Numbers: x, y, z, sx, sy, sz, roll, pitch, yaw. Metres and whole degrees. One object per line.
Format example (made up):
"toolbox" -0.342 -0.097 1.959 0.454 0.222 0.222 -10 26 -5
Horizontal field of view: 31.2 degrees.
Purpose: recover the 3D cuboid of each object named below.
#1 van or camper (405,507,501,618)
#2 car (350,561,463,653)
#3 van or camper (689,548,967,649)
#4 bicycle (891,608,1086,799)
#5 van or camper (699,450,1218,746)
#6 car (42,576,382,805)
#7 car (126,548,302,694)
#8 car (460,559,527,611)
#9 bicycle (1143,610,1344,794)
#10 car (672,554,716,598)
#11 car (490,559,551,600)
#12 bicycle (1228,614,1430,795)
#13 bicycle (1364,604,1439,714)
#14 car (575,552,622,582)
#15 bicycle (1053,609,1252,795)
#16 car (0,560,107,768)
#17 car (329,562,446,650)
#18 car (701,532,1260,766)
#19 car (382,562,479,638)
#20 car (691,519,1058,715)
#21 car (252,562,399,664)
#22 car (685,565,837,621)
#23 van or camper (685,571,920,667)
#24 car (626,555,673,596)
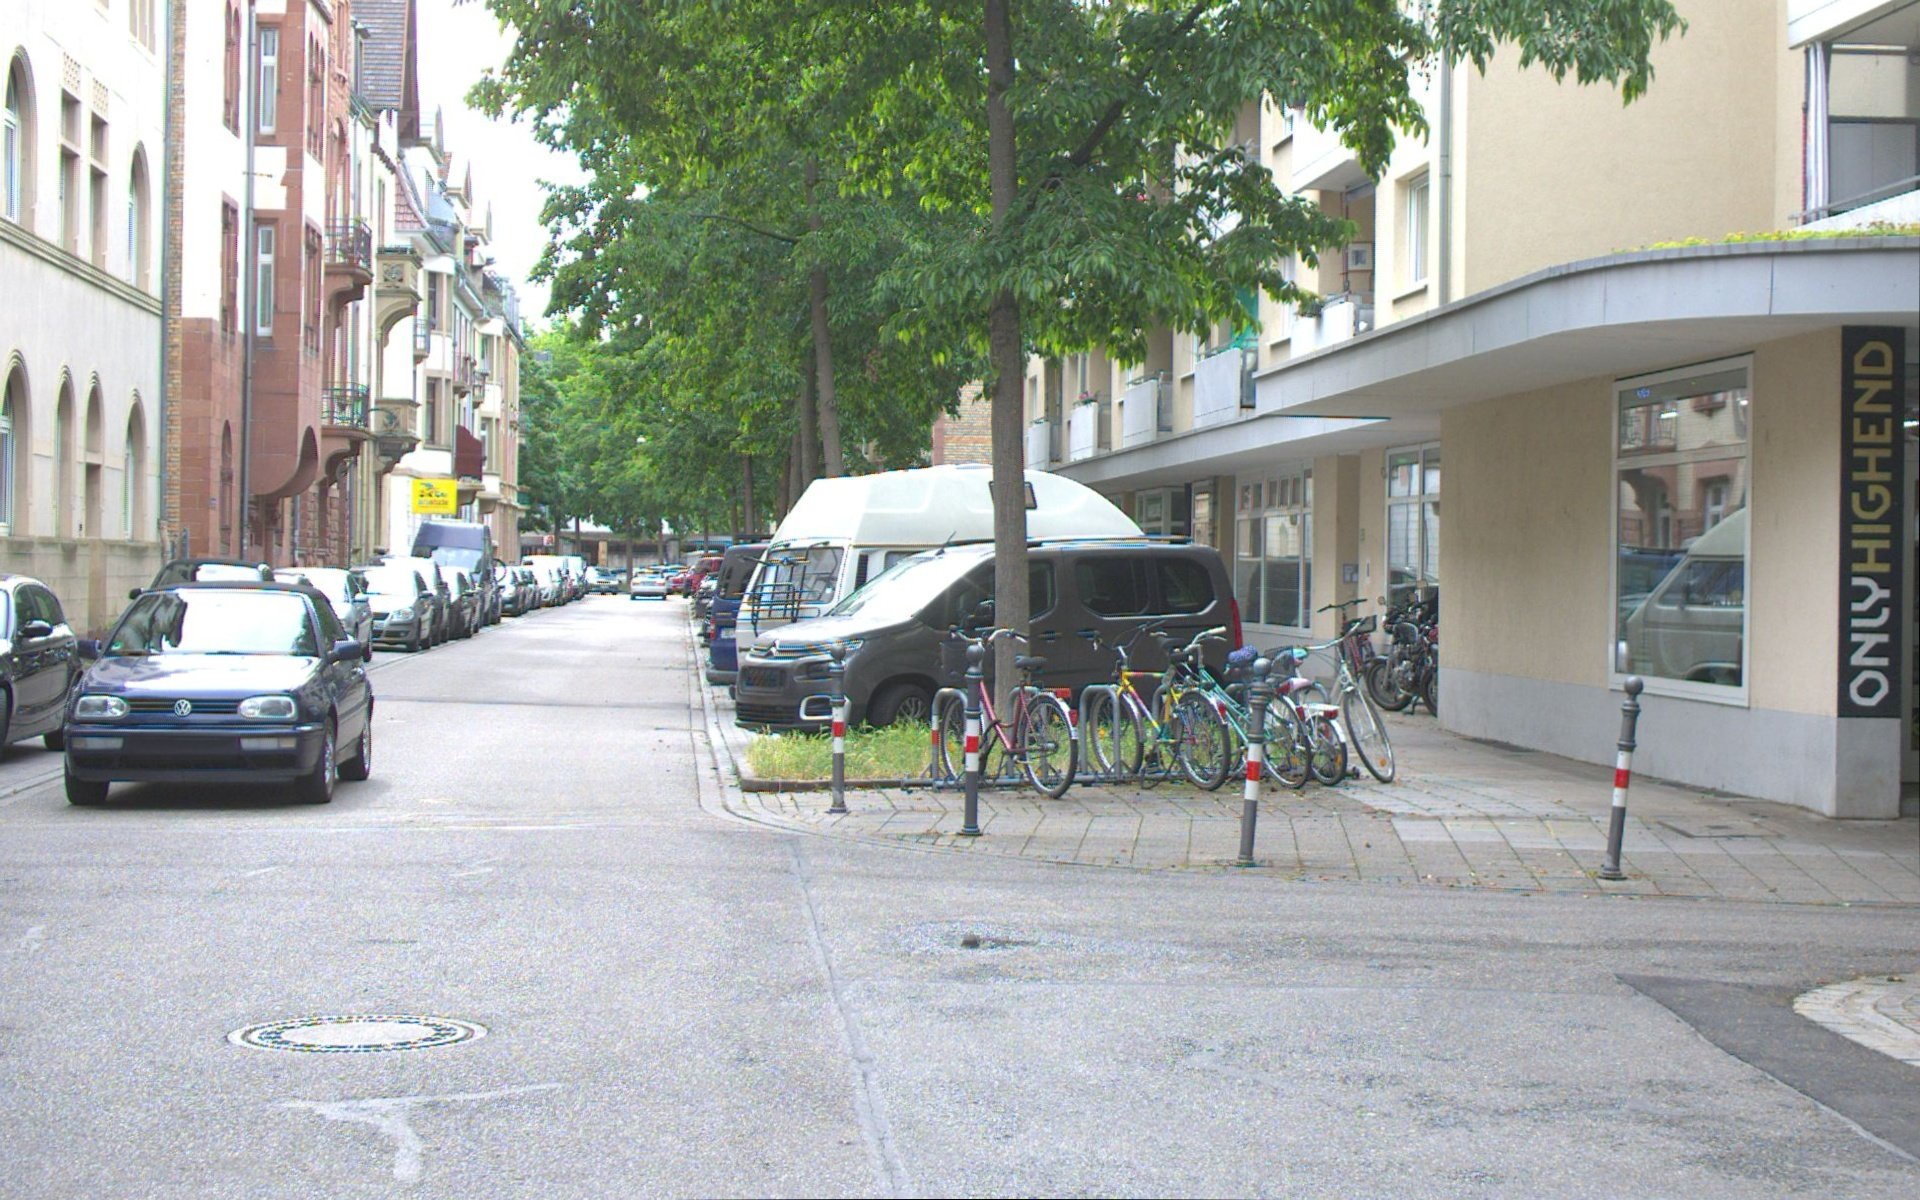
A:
"van or camper" -12.768 -0.992 86.770 2.008 2.642 5.317 1 2 -4
"car" -10.737 0.113 66.942 1.786 1.641 4.362 2 1 -5
"van or camper" -2.561 -0.054 67.154 5.006 1.863 2.127 -1 1 -32
"bicycle" 0.167 0.656 22.577 0.548 1.169 1.729 1 1 -26
"van or camper" 0.034 -0.018 32.141 4.582 2.587 1.911 0 1 -37
"car" -4.946 0.576 23.182 1.708 1.408 3.853 0 0 -4
"car" -8.852 0.221 40.965 1.646 1.565 2.957 2 1 -5
"car" -13.979 -0.461 103.148 1.789 1.475 4.023 2 0 -5
"bicycle" 1.918 0.672 23.494 0.548 1.169 1.729 1 1 -26
"car" -13.168 -1.207 170.171 1.993 2.007 4.001 4 0 -5
"car" -16.073 -0.762 125.862 1.993 1.470 4.001 1 1 -5
"bicycle" 2.532 0.701 23.784 0.548 1.169 1.698 1 1 -26
"bicycle" 4.585 0.598 35.773 0.484 1.086 1.701 1 1 -2
"car" -20.729 -1.872 197.123 1.820 1.639 3.755 3 -1 -19
"bicycle" 1.285 0.668 23.257 0.548 1.169 1.729 1 1 -26
"car" -7.786 0.439 26.222 1.709 1.489 4.000 2 -1 -3
"car" -10.053 0.075 60.540 1.662 1.416 3.930 2 1 -5
"car" 0.193 0.389 29.084 4.331 1.848 1.911 1 1 -29
"car" -10.985 -0.015 71.547 1.634 1.468 4.001 2 1 -4
"car" -0.954 0.179 40.835 2.065 2.189 4.389 1 1 36
"car" -9.537 0.163 51.889 1.726 1.382 4.138 2 1 -5
"car" -5.788 -0.205 100.060 4.011 1.554 1.884 1 0 -35
"van or camper" -3.444 0.413 75.420 4.729 1.987 2.000 -1 -1 -30
"car" -14.534 -1.142 161.079 1.993 1.788 4.000 2 -1 -4
